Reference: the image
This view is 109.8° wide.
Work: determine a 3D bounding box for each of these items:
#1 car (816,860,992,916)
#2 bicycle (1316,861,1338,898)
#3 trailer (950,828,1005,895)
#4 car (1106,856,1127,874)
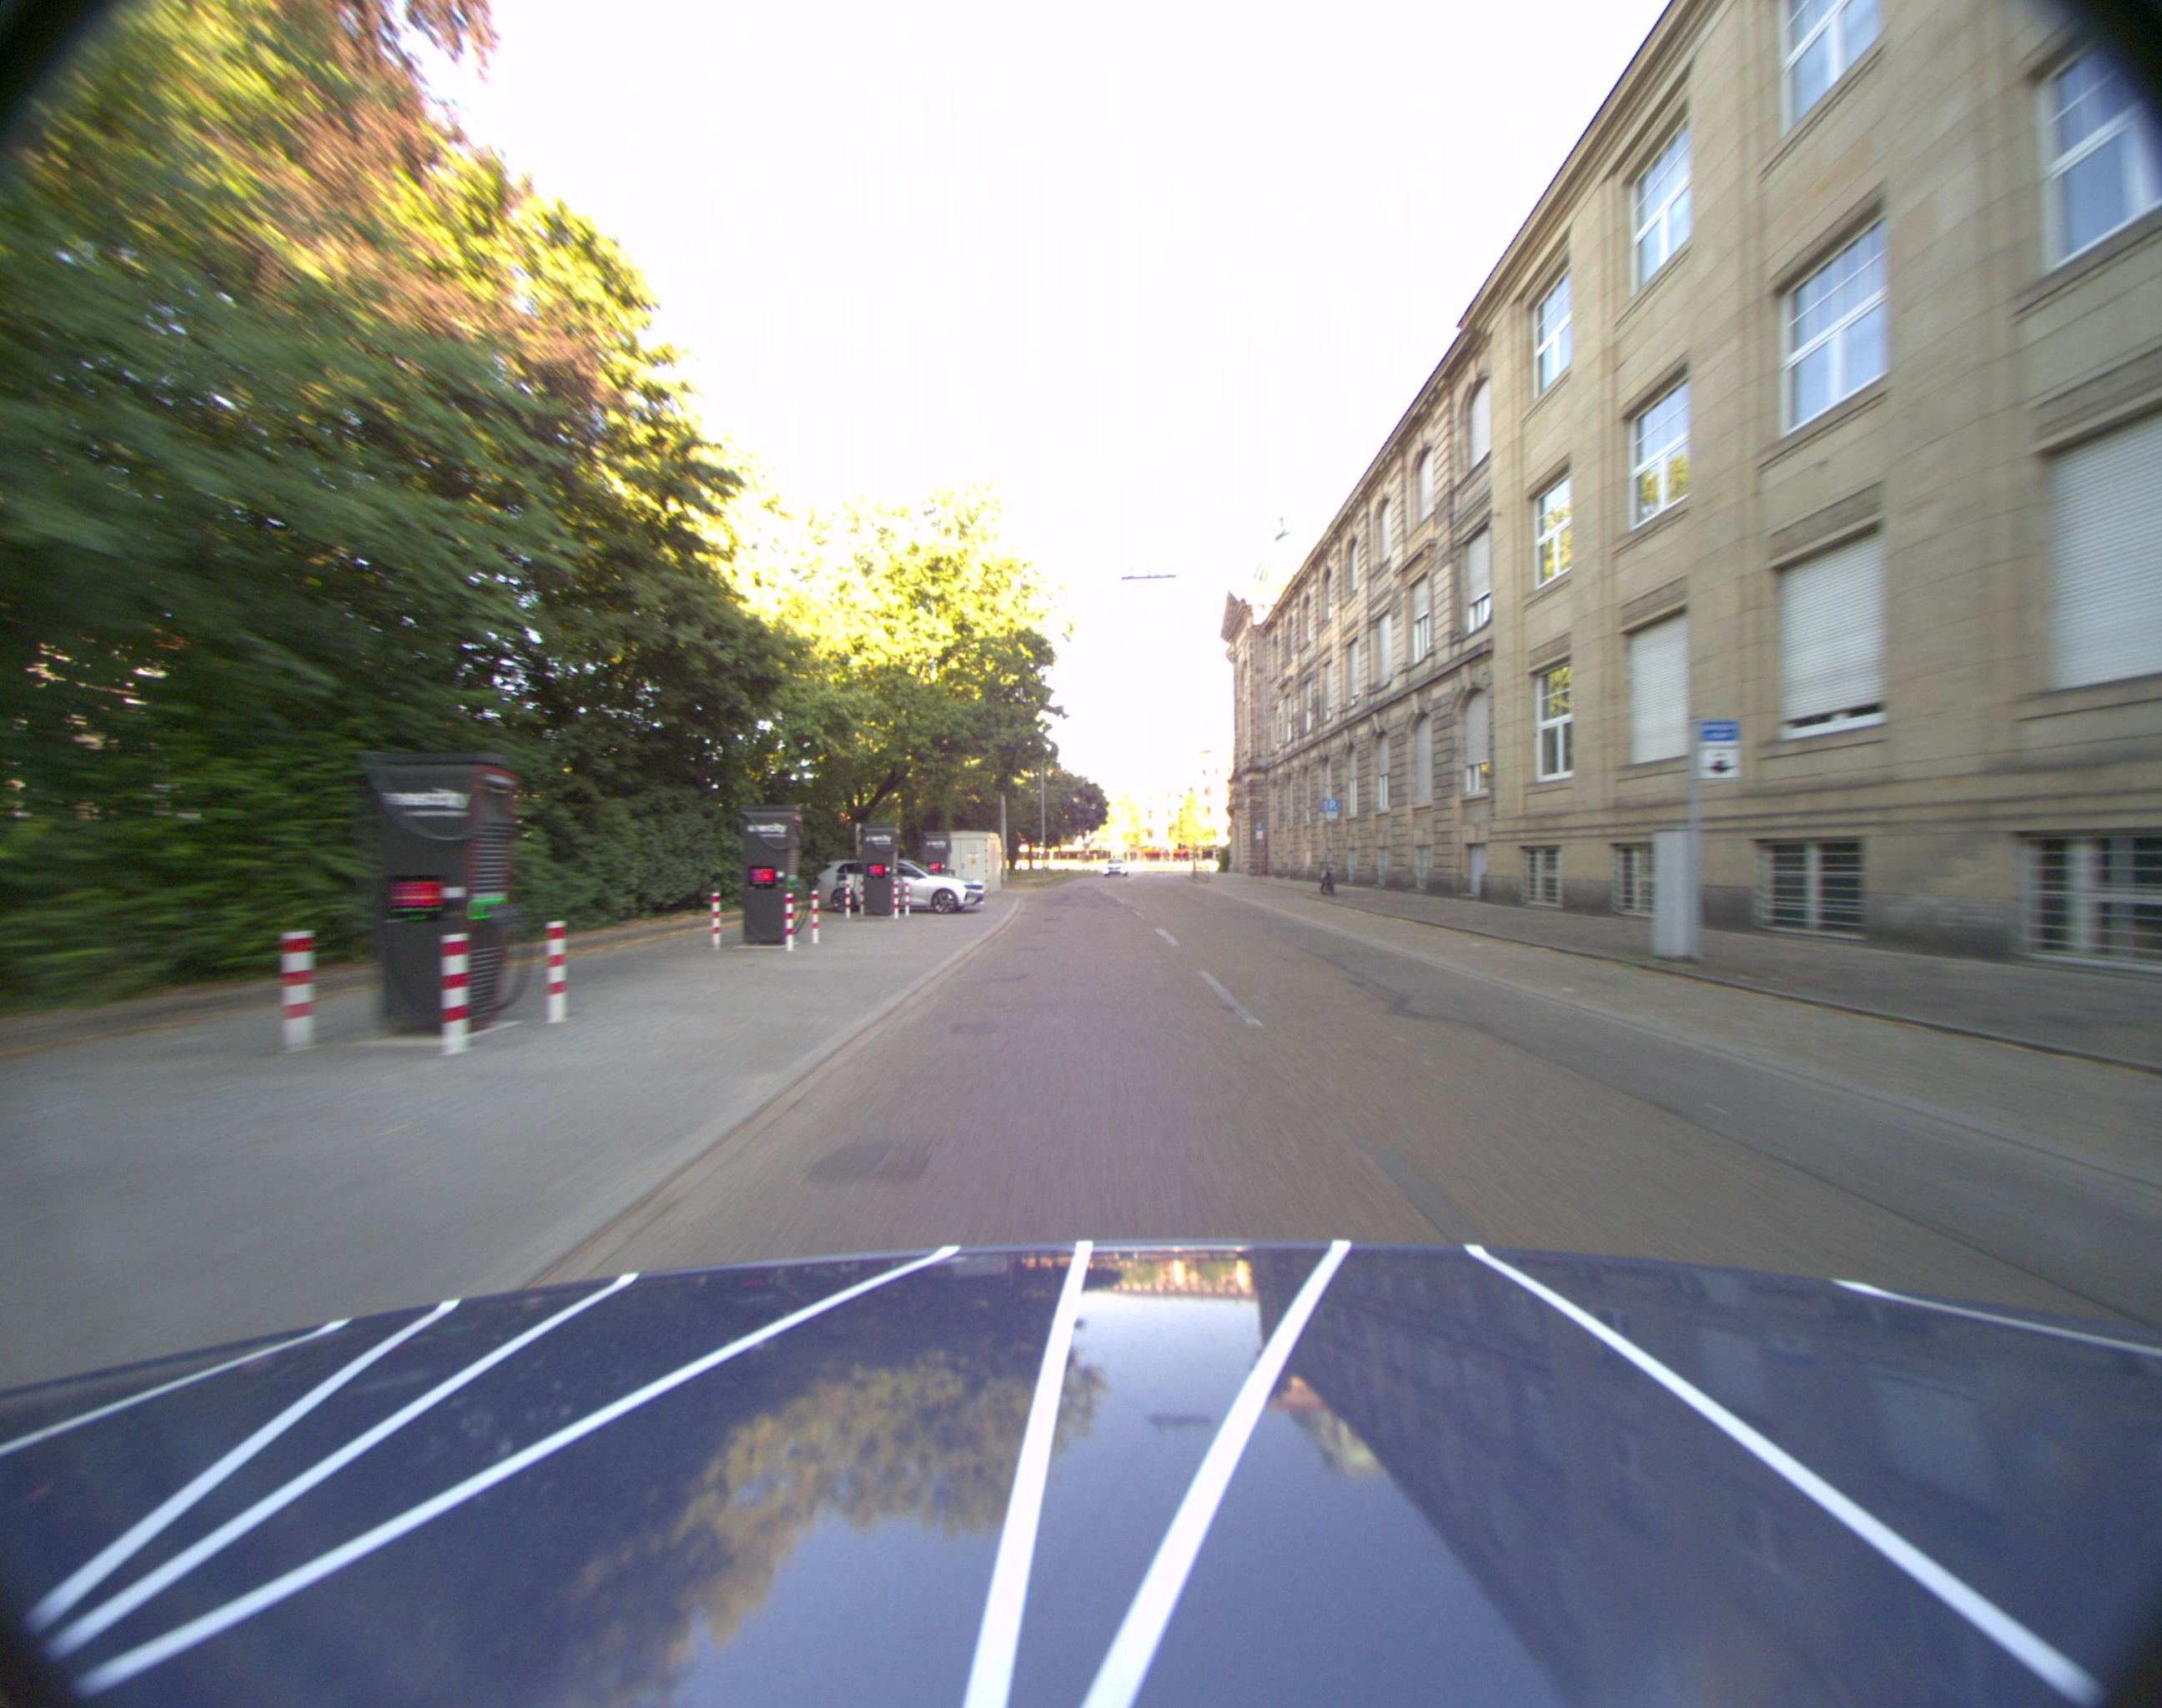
[{"bbox_3d":[-4.821,0.913,21.064,4.442,1.458,1.711,0,0,2],"label":"car"},{"bbox_3d":[8.384,0.861,25.964,0.457,1.202,1.879,0,0,10],"label":"bicycle"},{"bbox_3d":[-4.221,0.300,31.482,1.601,2.625,3.703,0,0,2],"label":"trailer"},{"bbox_3d":[2.988,0.922,63.235,1.687,1.444,4.104,0,0,4],"label":"car"}]
